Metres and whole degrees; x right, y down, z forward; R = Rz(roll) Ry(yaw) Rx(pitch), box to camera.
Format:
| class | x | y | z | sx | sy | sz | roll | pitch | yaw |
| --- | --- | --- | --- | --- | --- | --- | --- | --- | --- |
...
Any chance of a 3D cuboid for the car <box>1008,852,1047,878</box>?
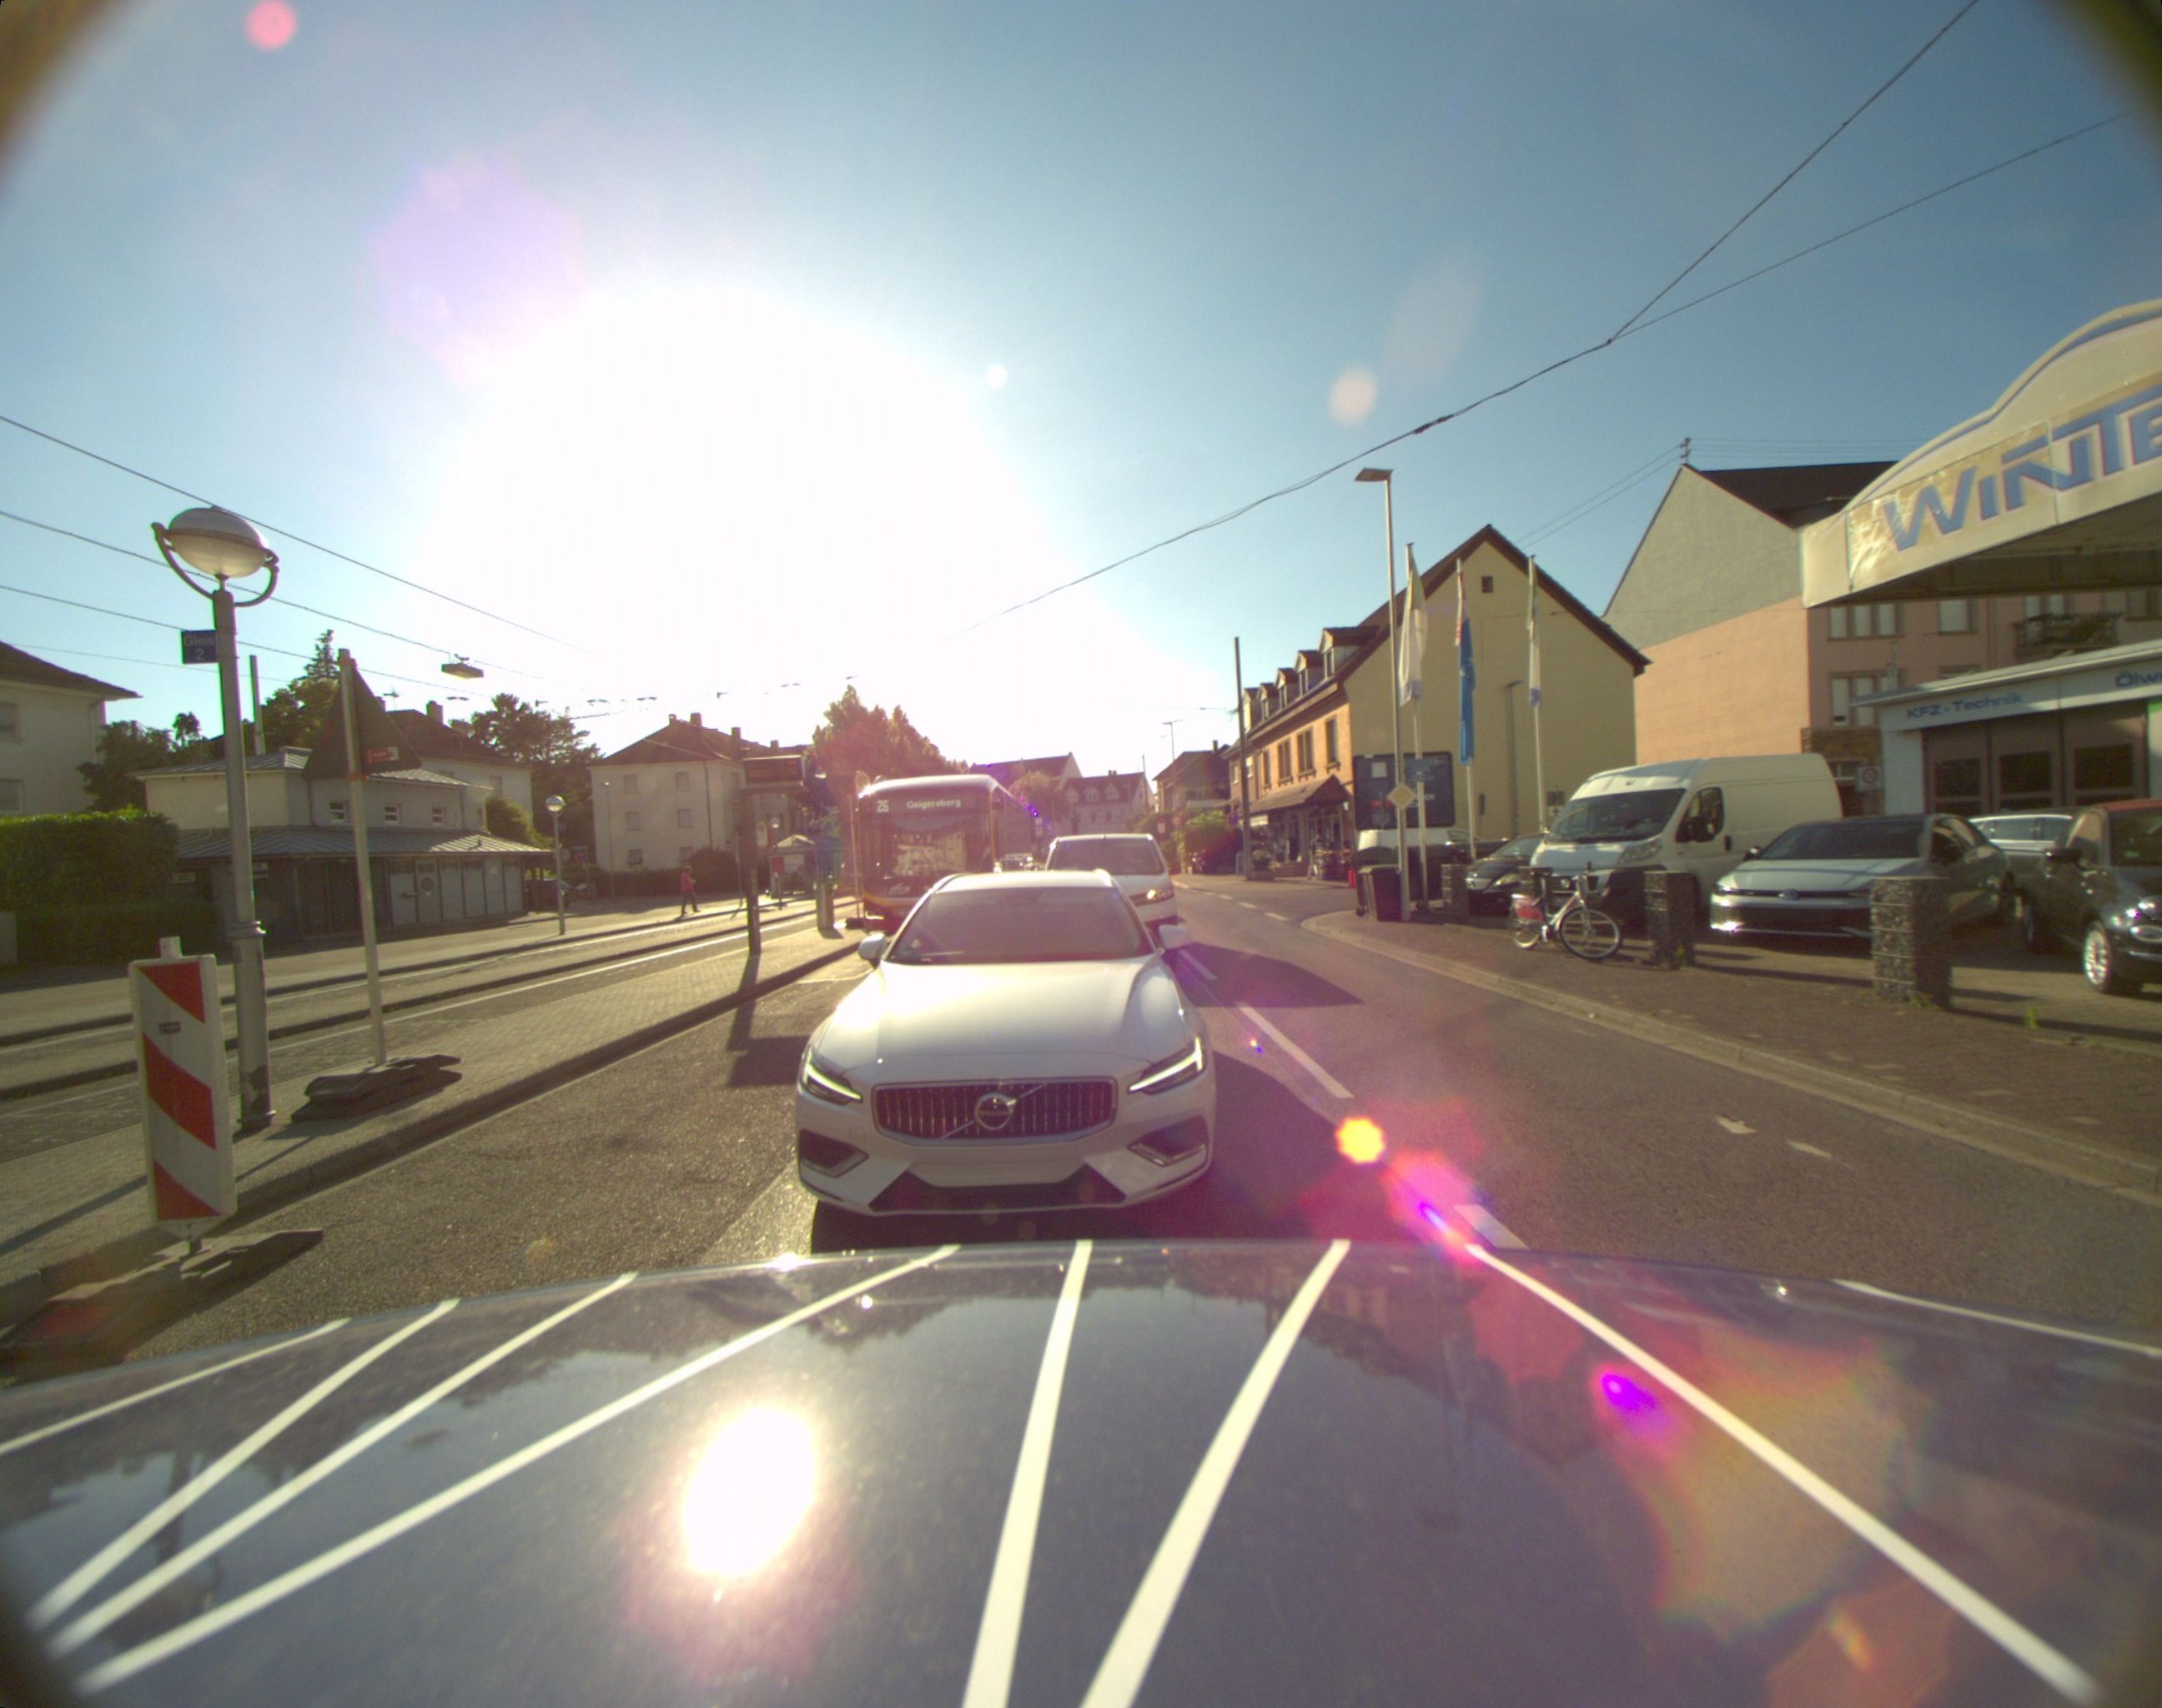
| class | x | y | z | sx | sy | sz | roll | pitch | yaw |
| --- | --- | --- | --- | --- | --- | --- | --- | --- | --- |
| car | -3.271 | 0.627 | 47.311 | 1.969 | 1.450 | 4.824 | -2 | 0 | 1 |

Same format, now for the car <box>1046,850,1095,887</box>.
| class | x | y | z | sx | sy | sz | roll | pitch | yaw |
| --- | --- | --- | --- | --- | --- | --- | --- | --- | --- |
| car | -0.391 | 0.580 | 33.268 | 1.969 | 1.450 | 4.824 | -2 | 0 | 1 |

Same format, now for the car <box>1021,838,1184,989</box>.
| class | x | y | z | sx | sy | sz | roll | pitch | yaw |
| --- | --- | --- | --- | --- | --- | --- | --- | --- | --- |
| car | 0.303 | 0.732 | 12.017 | 1.969 | 1.816 | 5.033 | -2 | 0 | 1 |

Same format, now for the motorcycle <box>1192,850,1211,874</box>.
| class | x | y | z | sx | sy | sz | roll | pitch | yaw |
| --- | --- | --- | --- | --- | --- | --- | --- | --- | --- |
| motorcycle | 6.354 | 0.414 | 40.127 | 0.708 | 1.210 | 2.186 | -2 | 1 | 3 |

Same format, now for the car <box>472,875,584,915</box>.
| class | x | y | z | sx | sy | sz | roll | pitch | yaw |
| --- | --- | --- | --- | --- | --- | --- | --- | --- | --- |
| car | -27.687 | 2.044 | 38.146 | 4.052 | 1.663 | 2.000 | -4 | 1 | 2 |

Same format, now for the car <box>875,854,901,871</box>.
| class | x | y | z | sx | sy | sz | roll | pitch | yaw |
| --- | --- | --- | --- | --- | --- | --- | --- | --- | --- |
| car | -23.260 | 1.012 | 91.780 | 1.998 | 1.853 | 3.999 | -2 | 1 | 1 |

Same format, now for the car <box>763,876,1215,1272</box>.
| class | x | y | z | sx | sy | sz | roll | pitch | yaw |
| --- | --- | --- | --- | --- | --- | --- | --- | --- | --- |
| car | -0.353 | 0.981 | 5.264 | 1.821 | 1.446 | 4.217 | -2 | 0 | 1 |

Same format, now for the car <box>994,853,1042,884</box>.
| class | x | y | z | sx | sy | sz | roll | pitch | yaw |
| --- | --- | --- | --- | --- | --- | --- | --- | --- | --- |
| car | -3.228 | 0.702 | 39.897 | 1.969 | 1.450 | 4.824 | -2 | 0 | 1 |

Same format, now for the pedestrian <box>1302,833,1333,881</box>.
| class | x | y | z | sx | sy | sz | roll | pitch | yaw |
| --- | --- | --- | --- | --- | --- | --- | --- | --- | --- |
| pedestrian | 9.294 | 0.104 | 29.926 | 0.768 | 1.842 | 0.821 | -3 | 1 | -21 |

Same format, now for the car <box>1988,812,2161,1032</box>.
| class | x | y | z | sx | sy | sz | roll | pitch | yaw |
| --- | --- | --- | --- | --- | --- | --- | --- | --- | --- |
| car | 9.076 | 0.411 | 6.172 | 1.590 | 1.488 | 3.442 | -2 | 1 | 40 |

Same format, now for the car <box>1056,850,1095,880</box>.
| class | x | y | z | sx | sy | sz | roll | pitch | yaw |
| --- | --- | --- | --- | --- | --- | --- | --- | --- | --- |
| car | -0.252 | 0.563 | 41.516 | 1.969 | 1.450 | 4.824 | -2 | 0 | 1 |

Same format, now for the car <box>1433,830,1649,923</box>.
| class | x | y | z | sx | sy | sz | roll | pitch | yaw |
| --- | --- | --- | --- | --- | --- | --- | --- | --- | --- |
| car | 8.968 | 0.372 | 14.754 | 4.036 | 1.469 | 1.739 | -3 | 1 | -28 |

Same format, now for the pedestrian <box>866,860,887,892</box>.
| class | x | y | z | sx | sy | sz | roll | pitch | yaw |
| --- | --- | --- | --- | --- | --- | --- | --- | --- | --- |
| pedestrian | -10.758 | 1.145 | 39.881 | 0.826 | 1.601 | 0.840 | -3 | 1 | -29 |

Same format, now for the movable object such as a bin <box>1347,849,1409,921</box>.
| class | x | y | z | sx | sy | sz | roll | pitch | yaw |
| --- | --- | --- | --- | --- | --- | --- | --- | --- | --- |
| movable object such as a bin | 6.236 | 0.640 | 15.958 | 1.045 | 1.456 | 0.797 | -2 | 1 | 32 |

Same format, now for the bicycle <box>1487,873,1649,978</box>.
| class | x | y | z | sx | sy | sz | roll | pitch | yaw |
| --- | --- | --- | --- | --- | --- | --- | --- | --- | --- |
| bicycle | 5.882 | 0.813 | 9.321 | 0.725 | 1.080 | 1.791 | -3 | 1 | -3 |

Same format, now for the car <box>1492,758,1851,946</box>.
| class | x | y | z | sx | sy | sz | roll | pitch | yaw |
| --- | --- | --- | --- | --- | --- | --- | --- | --- | --- |
| car | 9.144 | -0.136 | 11.768 | 4.997 | 2.440 | 2.111 | -3 | 1 | -22 |

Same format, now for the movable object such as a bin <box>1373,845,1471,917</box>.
| class | x | y | z | sx | sy | sz | roll | pitch | yaw |
| --- | --- | --- | --- | --- | --- | --- | --- | --- | --- |
| movable object such as a bin | 7.594 | 0.577 | 16.921 | 1.798 | 1.456 | 1.046 | -3 | 1 | -25 |

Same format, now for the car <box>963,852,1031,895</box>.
| class | x | y | z | sx | sy | sz | roll | pitch | yaw |
| --- | --- | --- | --- | --- | --- | --- | --- | --- | --- |
| car | -3.151 | 0.703 | 29.508 | 1.969 | 1.450 | 4.824 | -2 | 0 | 1 |

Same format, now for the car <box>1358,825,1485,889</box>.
| class | x | y | z | sx | sy | sz | roll | pitch | yaw |
| --- | --- | --- | --- | --- | --- | --- | --- | --- | --- |
| car | 11.565 | 0.095 | 25.929 | 3.672 | 2.002 | 1.451 | -2 | 1 | -3 |

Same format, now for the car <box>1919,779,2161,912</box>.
| class | x | y | z | sx | sy | sz | roll | pitch | yaw |
| --- | --- | --- | --- | --- | --- | --- | --- | --- | --- |
| car | 16.481 | -0.174 | 11.995 | 1.742 | 1.933 | 4.257 | -3 | 1 | -1 |

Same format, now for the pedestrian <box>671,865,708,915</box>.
| class | x | y | z | sx | sy | sz | roll | pitch | yaw |
| --- | --- | --- | --- | --- | --- | --- | --- | --- | --- |
| pedestrian | -14.167 | 1.292 | 27.511 | 0.842 | 1.708 | 0.825 | -2 | 1 | 2 |

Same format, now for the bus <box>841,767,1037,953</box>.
| class | x | y | z | sx | sy | sz | roll | pitch | yaw |
| --- | --- | --- | --- | --- | --- | --- | --- | --- | --- |
| bus | -2.919 | 0.093 | 19.840 | 2.748 | 3.284 | 12.030 | -2 | 0 | 0 |

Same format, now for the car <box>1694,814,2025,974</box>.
| class | x | y | z | sx | sy | sz | roll | pitch | yaw |
| --- | --- | --- | --- | --- | --- | --- | --- | --- | --- |
| car | 9.490 | 0.358 | 9.219 | 4.036 | 1.488 | 1.739 | -3 | 1 | -28 |
